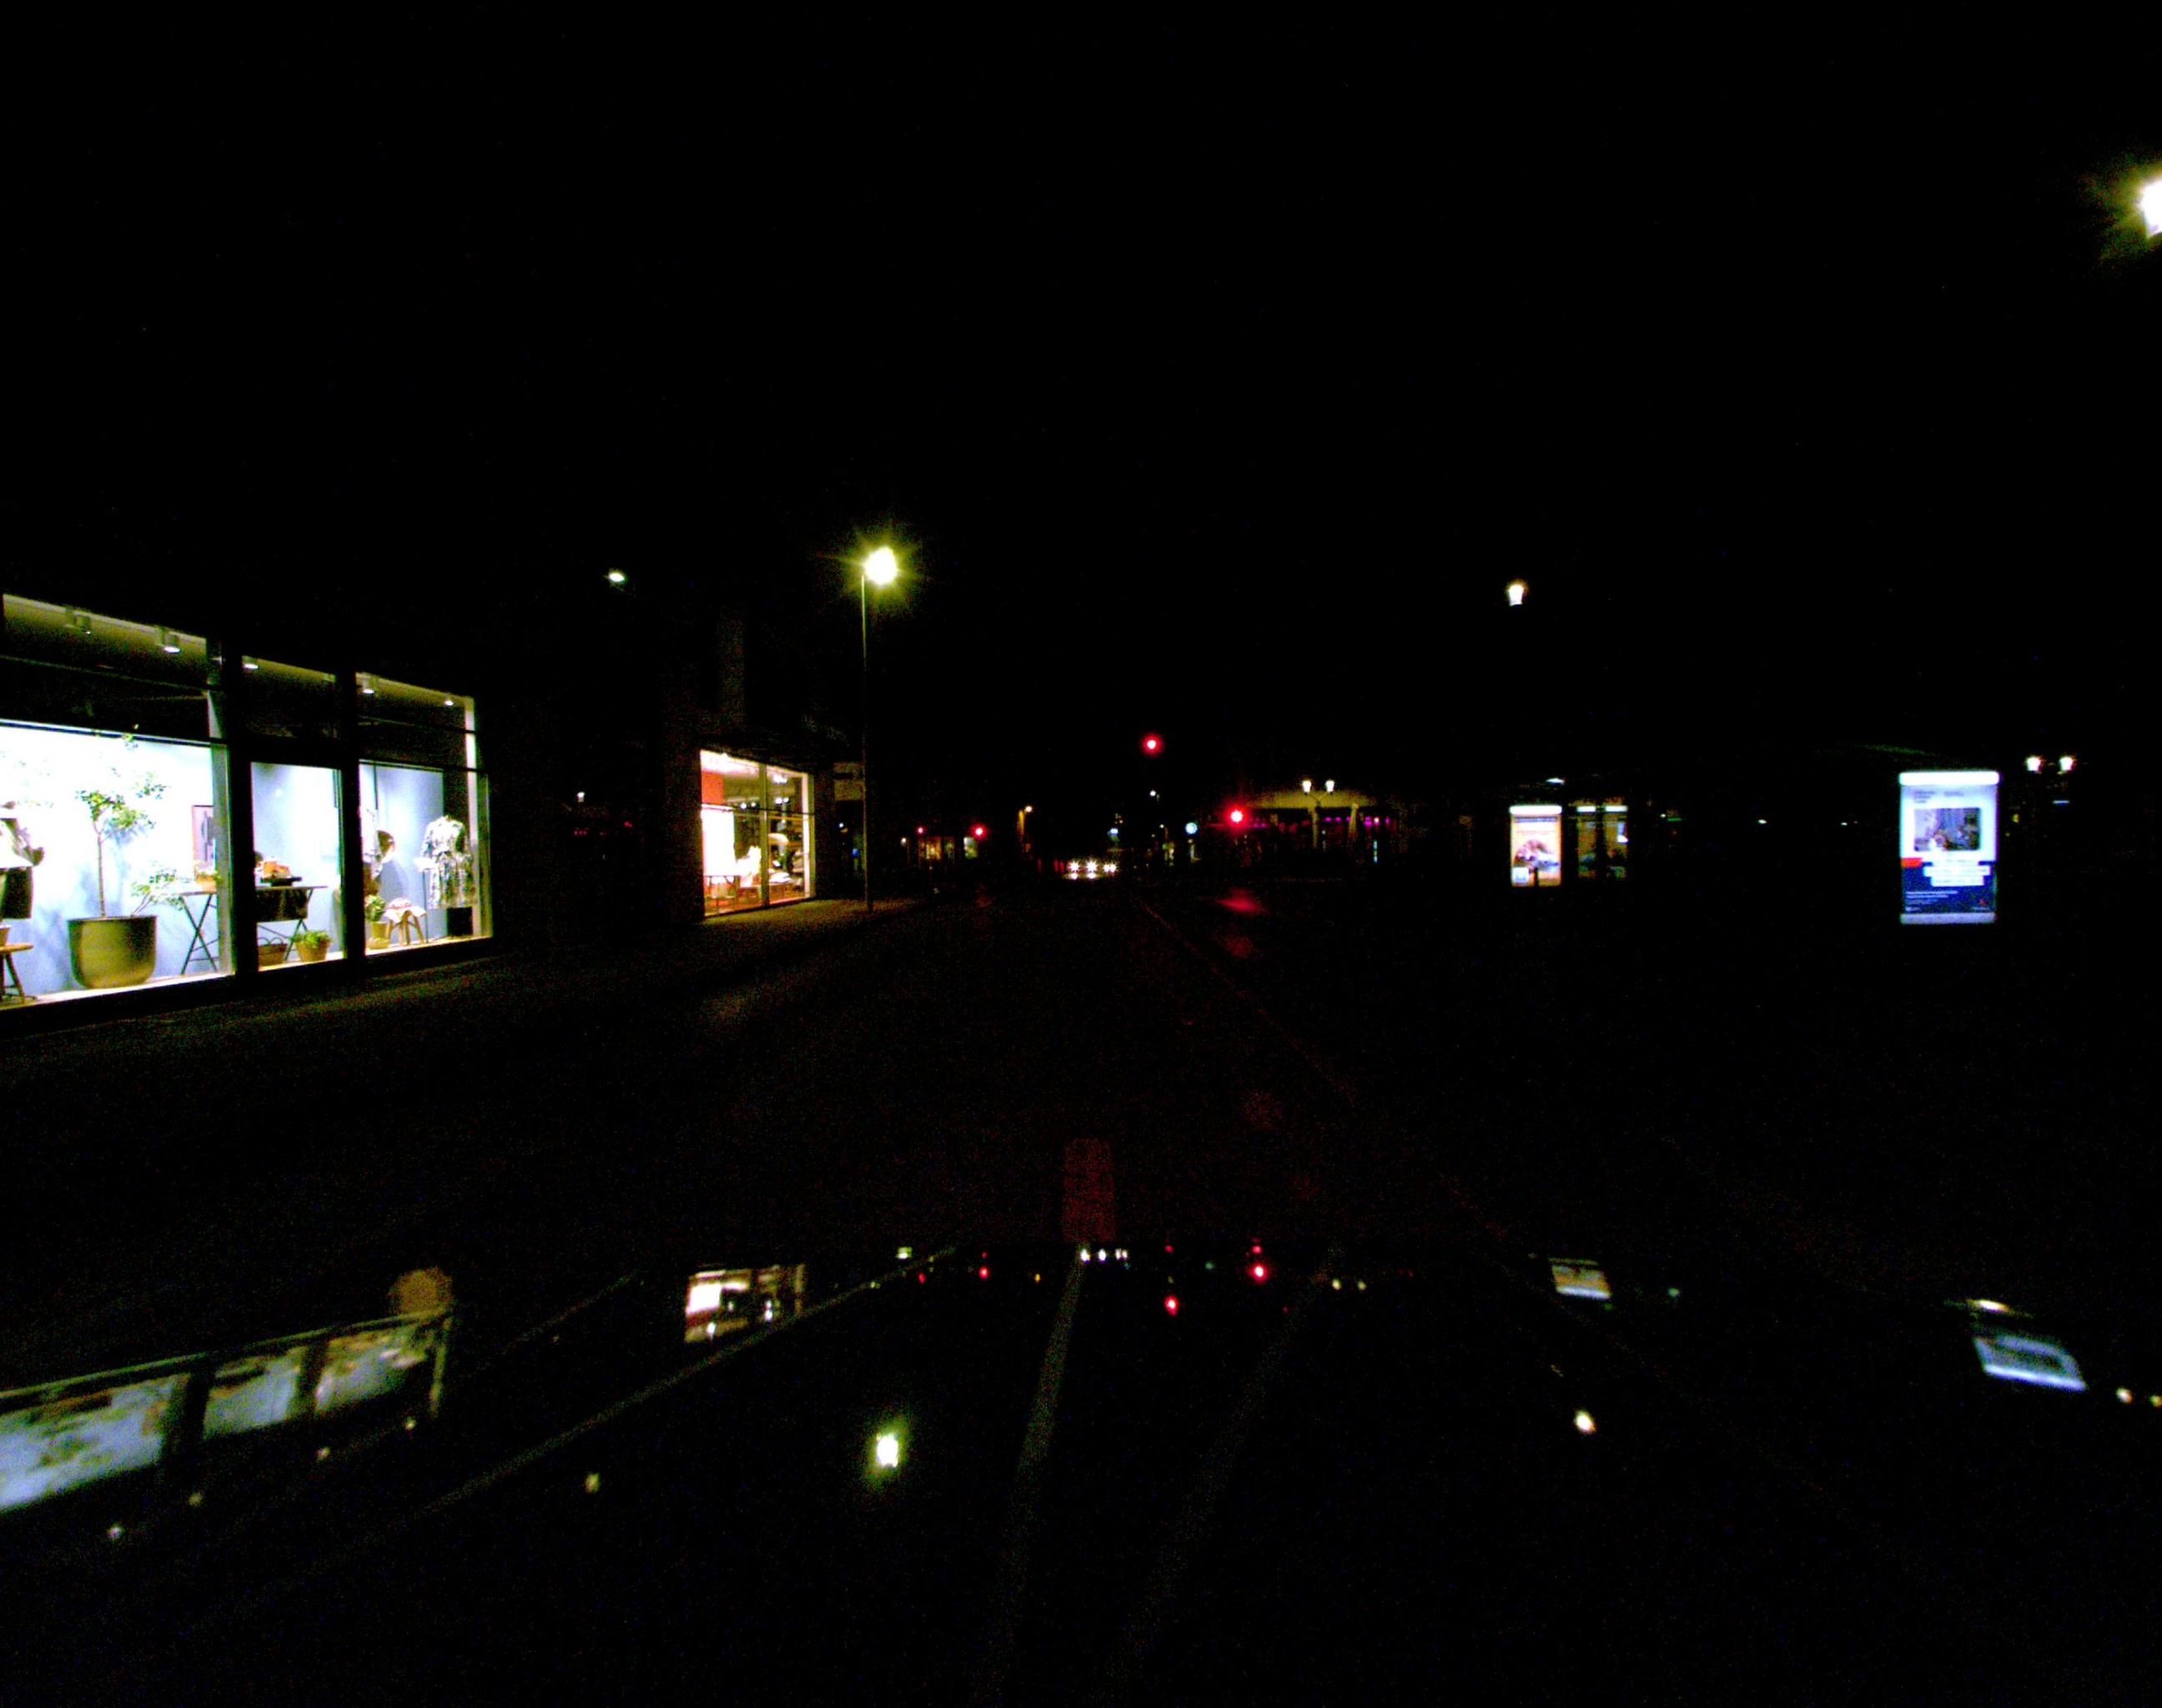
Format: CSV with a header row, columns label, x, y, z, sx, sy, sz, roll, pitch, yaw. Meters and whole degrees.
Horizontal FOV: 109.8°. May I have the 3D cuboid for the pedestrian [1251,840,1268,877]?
label,x,y,z,sx,sy,sz,roll,pitch,yaw
pedestrian,8.158,0.204,34.738,0.582,1.672,0.648,-2,1,23

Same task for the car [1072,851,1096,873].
label,x,y,z,sx,sy,sz,roll,pitch,yaw
car,0.308,0.664,62.965,1.713,1.660,3.738,-2,1,3

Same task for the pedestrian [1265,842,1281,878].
label,x,y,z,sx,sy,sz,roll,pitch,yaw
pedestrian,8.733,0.265,34.544,0.582,1.619,0.648,-2,1,23

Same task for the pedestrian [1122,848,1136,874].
label,x,y,z,sx,sy,sz,roll,pitch,yaw
pedestrian,3.218,0.492,50.810,0.877,1.723,0.647,0,1,4

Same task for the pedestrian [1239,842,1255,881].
label,x,y,z,sx,sy,sz,roll,pitch,yaw
pedestrian,7.289,0.308,33.296,0.539,1.672,0.648,-2,1,23

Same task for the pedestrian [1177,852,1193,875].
label,x,y,z,sx,sy,sz,roll,pitch,yaw
pedestrian,6.903,0.604,50.395,0.827,1.487,0.649,1,2,32

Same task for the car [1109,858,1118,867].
label,x,y,z,sx,sy,sz,roll,pitch,yaw
car,7.157,1.913,169.324,1.879,1.718,3.999,-2,1,1
